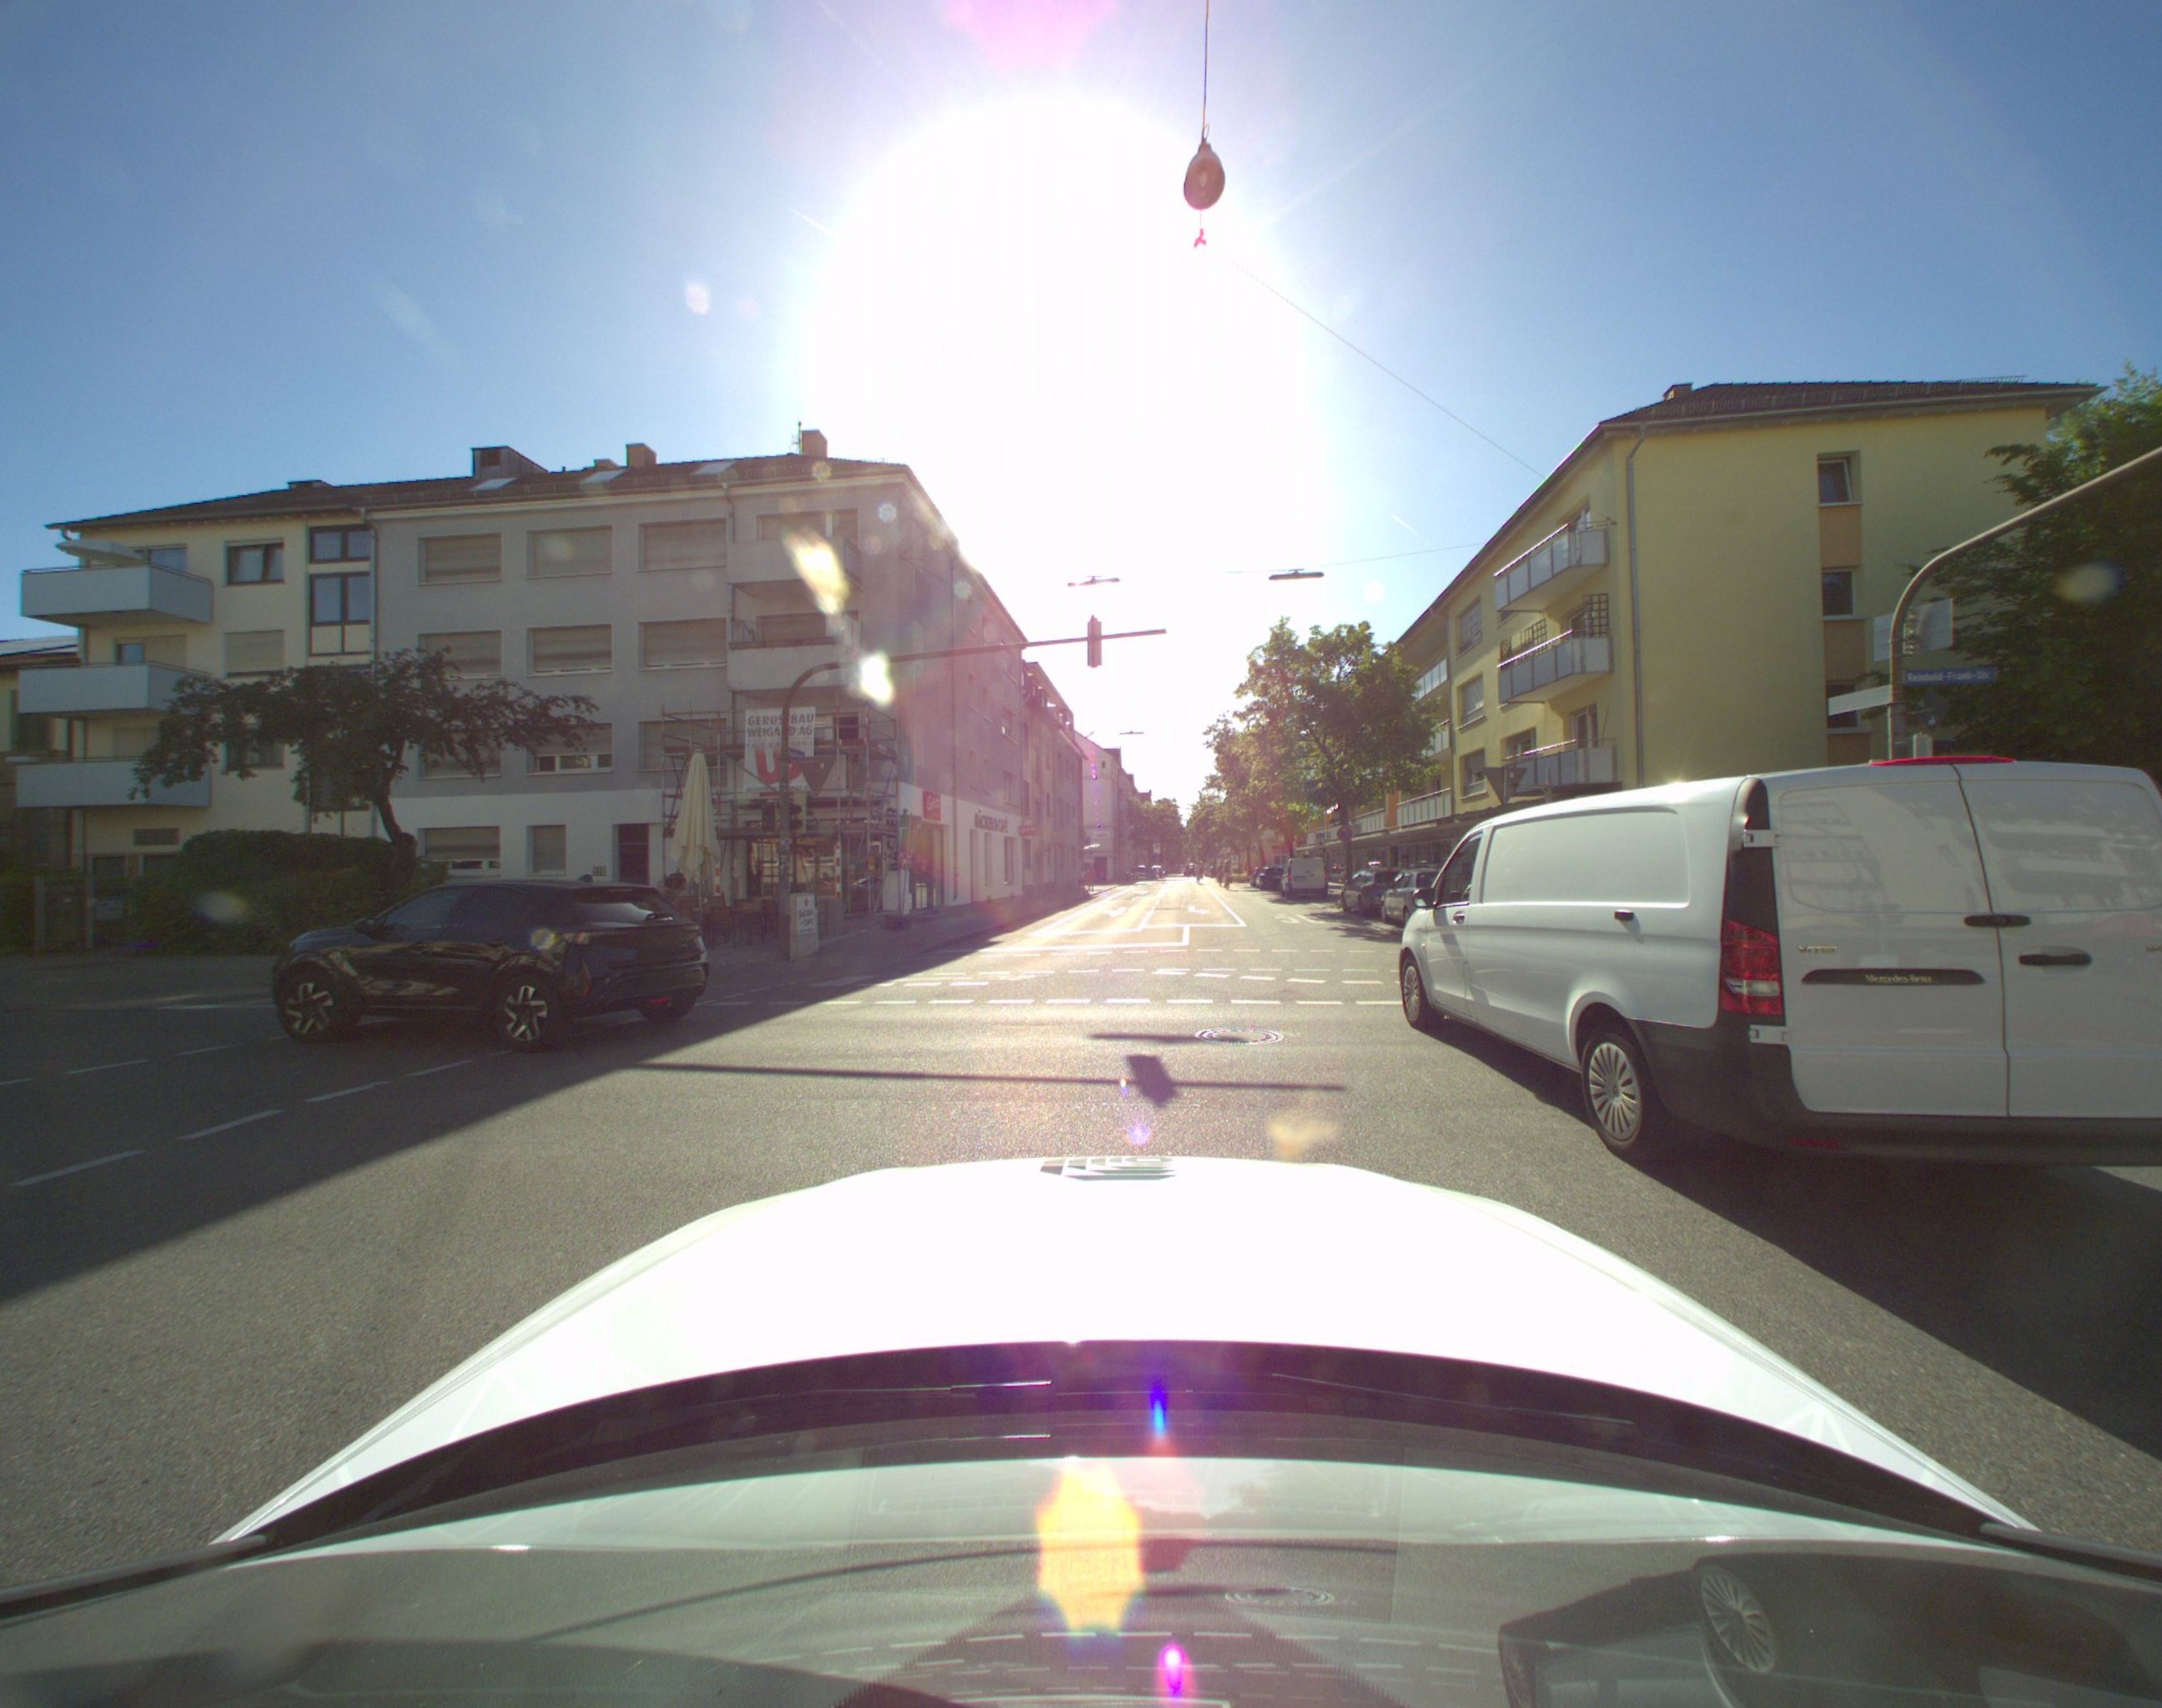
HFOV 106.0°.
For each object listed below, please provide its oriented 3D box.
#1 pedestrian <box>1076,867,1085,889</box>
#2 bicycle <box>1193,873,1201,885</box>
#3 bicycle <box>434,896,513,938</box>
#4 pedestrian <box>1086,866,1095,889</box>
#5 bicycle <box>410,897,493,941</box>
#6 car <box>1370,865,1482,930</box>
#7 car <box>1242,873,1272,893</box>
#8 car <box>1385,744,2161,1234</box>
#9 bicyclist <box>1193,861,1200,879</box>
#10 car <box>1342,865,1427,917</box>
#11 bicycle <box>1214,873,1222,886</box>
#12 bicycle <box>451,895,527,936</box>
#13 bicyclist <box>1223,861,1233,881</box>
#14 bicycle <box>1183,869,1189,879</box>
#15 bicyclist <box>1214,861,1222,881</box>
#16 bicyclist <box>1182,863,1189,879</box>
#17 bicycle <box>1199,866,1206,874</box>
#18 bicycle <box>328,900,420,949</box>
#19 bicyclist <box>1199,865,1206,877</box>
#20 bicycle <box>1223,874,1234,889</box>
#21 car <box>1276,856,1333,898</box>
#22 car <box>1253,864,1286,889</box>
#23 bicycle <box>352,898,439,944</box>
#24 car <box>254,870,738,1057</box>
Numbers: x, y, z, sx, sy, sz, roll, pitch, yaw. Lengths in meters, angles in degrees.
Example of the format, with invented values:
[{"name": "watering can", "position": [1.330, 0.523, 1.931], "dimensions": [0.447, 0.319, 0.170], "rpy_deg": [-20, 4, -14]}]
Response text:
[{"name": "pedestrian", "position": [-0.015, 1.654, 56.051], "dimensions": [0.575, 1.467, 0.703], "rpy_deg": [-1, -1, 1]}, {"name": "bicycle", "position": [9.174, 1.982, 64.629], "dimensions": [0.616, 0.866, 1.880], "rpy_deg": [-1, -1, 8]}, {"name": "bicycle", "position": [-14.286, 1.477, 19.163], "dimensions": [1.579, 0.940, 0.514], "rpy_deg": [-1, -1, 8]}, {"name": "pedestrian", "position": [0.659, 1.583, 55.546], "dimensions": [0.575, 1.583, 0.708], "rpy_deg": [-1, -1, 1]}, {"name": "bicycle", "position": [-14.113, 1.451, 18.266], "dimensions": [1.579, 0.940, 0.514], "rpy_deg": [-1, -1, 8]}, {"name": "car", "position": [8.632, 1.041, 20.665], "dimensions": [1.703, 1.483, 3.487], "rpy_deg": [-1, -1, 7]}, {"name": "car", "position": [12.297, 1.990, 57.086], "dimensions": [1.703, 1.314, 3.387], "rpy_deg": [-1, -1, 7]}, {"name": "car", "position": [3.731, 0.551, 5.468], "dimensions": [1.958, 1.810, 4.840], "rpy_deg": [-1, -1, 5]}, {"name": "bicyclist", "position": [9.155, 1.280, 64.564], "dimensions": [0.585, 1.382, 0.824], "rpy_deg": [-1, -1, 8]}, {"name": "car", "position": [9.321, 1.106, 25.252], "dimensions": [1.703, 1.483, 3.387], "rpy_deg": [-1, -1, 7]}, {"name": "bicycle", "position": [9.925, 1.823, 59.024], "dimensions": [0.544, 0.866, 1.880], "rpy_deg": [-1, -1, 8]}, {"name": "bicycle", "position": [-14.428, 1.493, 19.849], "dimensions": [1.579, 0.940, 0.514], "rpy_deg": [-1, -1, 8]}, {"name": "bicyclist", "position": [9.245, 1.060, 51.190], "dimensions": [0.544, 1.262, 0.804], "rpy_deg": [-1, -1, 8]}, {"name": "bicycle", "position": [10.928, 2.052, 84.926], "dimensions": [0.629, 1.041, 1.798], "rpy_deg": [-2, -1, 7]}, {"name": "bicyclist", "position": [9.906, 1.225, 59.020], "dimensions": [0.544, 1.382, 0.824], "rpy_deg": [-1, -1, 8]}, {"name": "bicyclist", "position": [10.868, 1.733, 84.560], "dimensions": [0.629, 1.669, 1.052], "rpy_deg": [-2, -1, 6]}, {"name": "bicycle", "position": [12.473, 1.643, 83.581], "dimensions": [0.687, 0.866, 1.880], "rpy_deg": [-1, -1, 8]}, {"name": "bicycle", "position": [-14.628, 1.456, 16.860], "dimensions": [1.579, 0.940, 0.514], "rpy_deg": [-1, -1, 8]}, {"name": "bicyclist", "position": [12.474, 1.738, 83.571], "dimensions": [0.688, 1.194, 0.596], "rpy_deg": [-1, -1, 8]}, {"name": "bicycle", "position": [9.255, 1.736, 51.166], "dimensions": [0.544, 0.866, 1.880], "rpy_deg": [-1, -1, 8]}, {"name": "car", "position": [10.540, 1.057, 38.728], "dimensions": [2.034, 1.846, 4.594], "rpy_deg": [-1, -1, 8]}, {"name": "car", "position": [11.839, 1.408, 51.283], "dimensions": [1.703, 1.483, 3.387], "rpy_deg": [-1, -1, 7]}, {"name": "bicycle", "position": [-14.780, 1.444, 17.560], "dimensions": [1.579, 0.940, 0.514], "rpy_deg": [-1, -1, 8]}, {"name": "car", "position": [-5.753, 0.976, 8.169], "dimensions": [3.958, 1.558, 1.775], "rpy_deg": [-1, -1, 14]}]
